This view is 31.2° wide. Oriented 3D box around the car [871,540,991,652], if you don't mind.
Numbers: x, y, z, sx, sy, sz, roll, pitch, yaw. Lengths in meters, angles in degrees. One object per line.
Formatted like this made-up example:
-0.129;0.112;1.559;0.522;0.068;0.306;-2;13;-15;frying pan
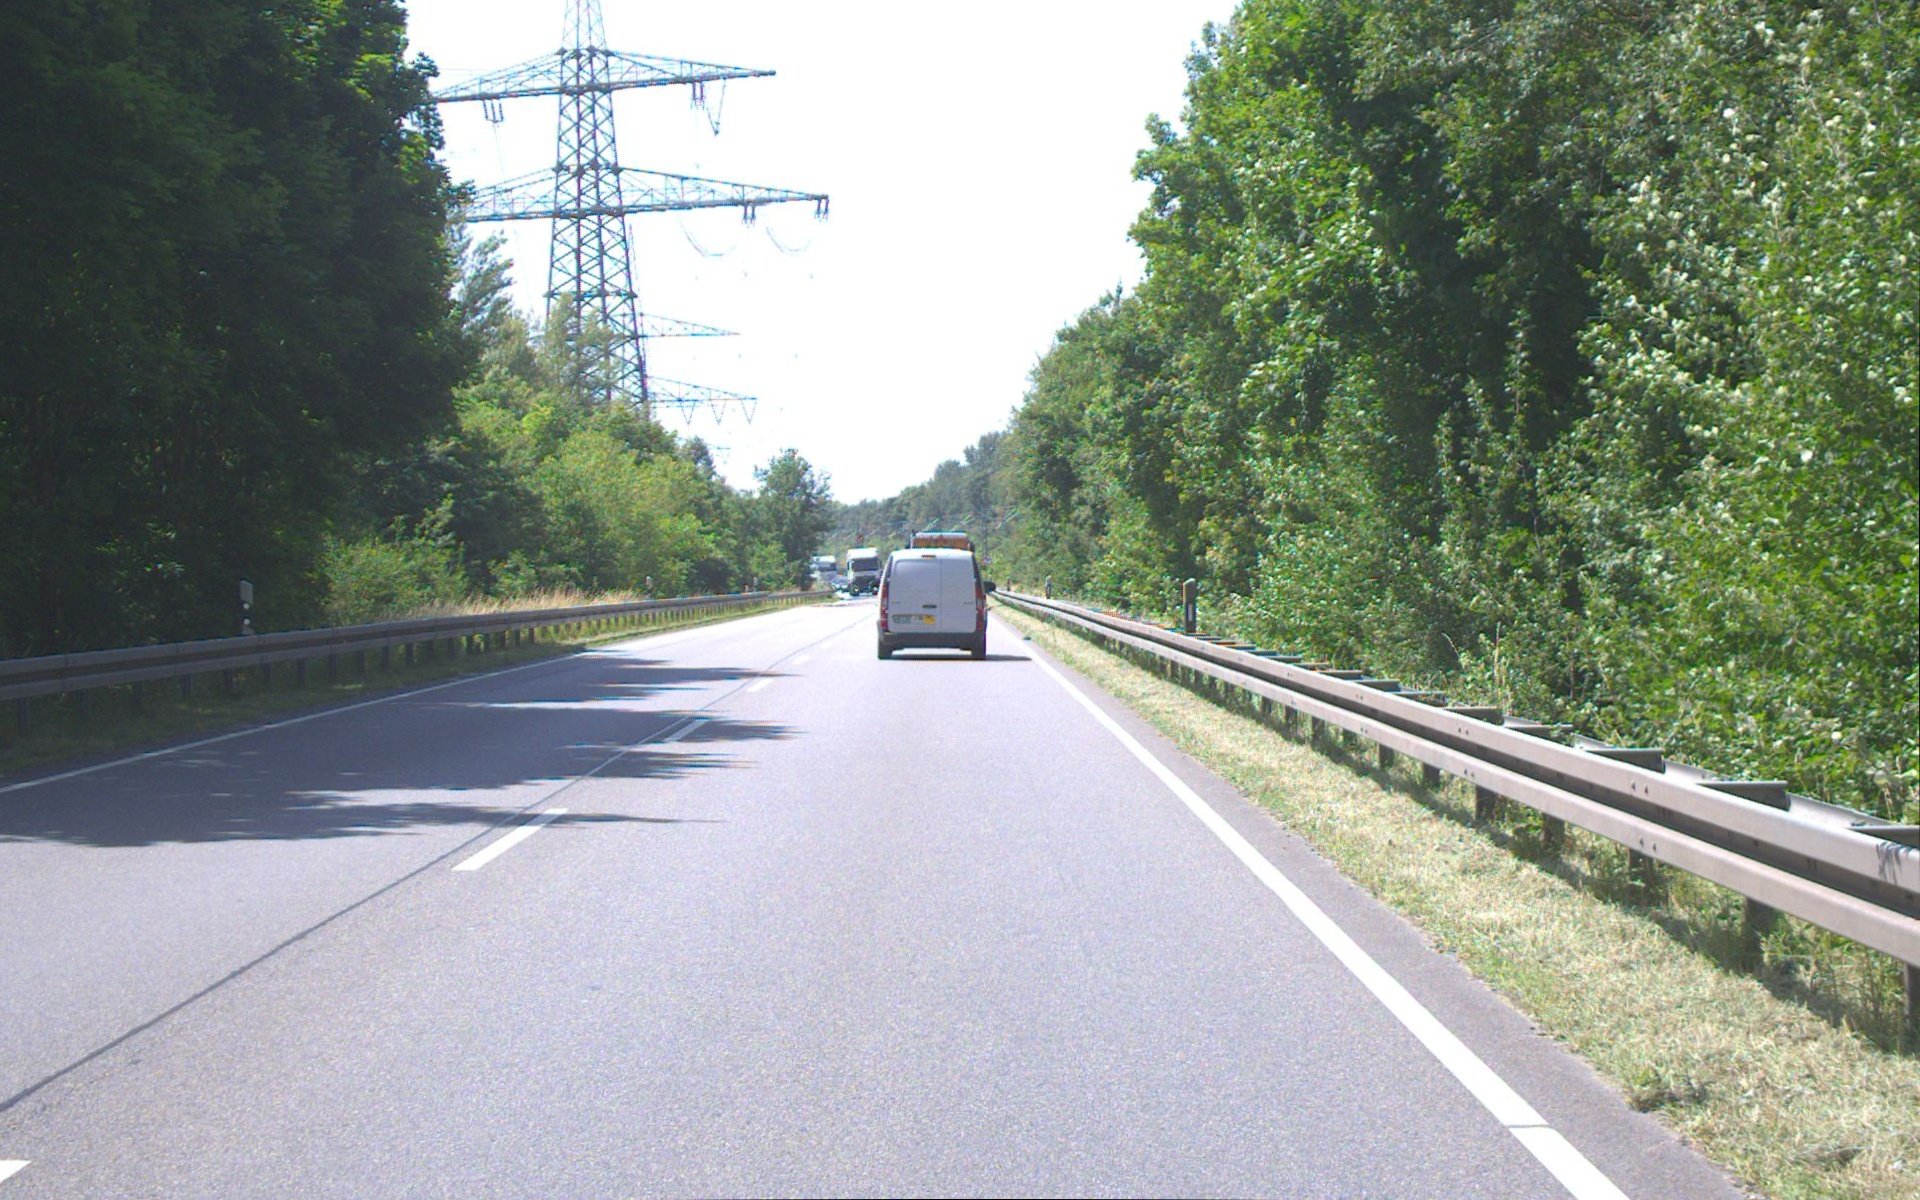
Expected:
-0.480;-0.097;56.176;1.875;1.735;4.000;0;1;-1;car

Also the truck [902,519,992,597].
-0.648;-1.907;149.679;3.296;3.161;14.406;0;1;-3;truck
